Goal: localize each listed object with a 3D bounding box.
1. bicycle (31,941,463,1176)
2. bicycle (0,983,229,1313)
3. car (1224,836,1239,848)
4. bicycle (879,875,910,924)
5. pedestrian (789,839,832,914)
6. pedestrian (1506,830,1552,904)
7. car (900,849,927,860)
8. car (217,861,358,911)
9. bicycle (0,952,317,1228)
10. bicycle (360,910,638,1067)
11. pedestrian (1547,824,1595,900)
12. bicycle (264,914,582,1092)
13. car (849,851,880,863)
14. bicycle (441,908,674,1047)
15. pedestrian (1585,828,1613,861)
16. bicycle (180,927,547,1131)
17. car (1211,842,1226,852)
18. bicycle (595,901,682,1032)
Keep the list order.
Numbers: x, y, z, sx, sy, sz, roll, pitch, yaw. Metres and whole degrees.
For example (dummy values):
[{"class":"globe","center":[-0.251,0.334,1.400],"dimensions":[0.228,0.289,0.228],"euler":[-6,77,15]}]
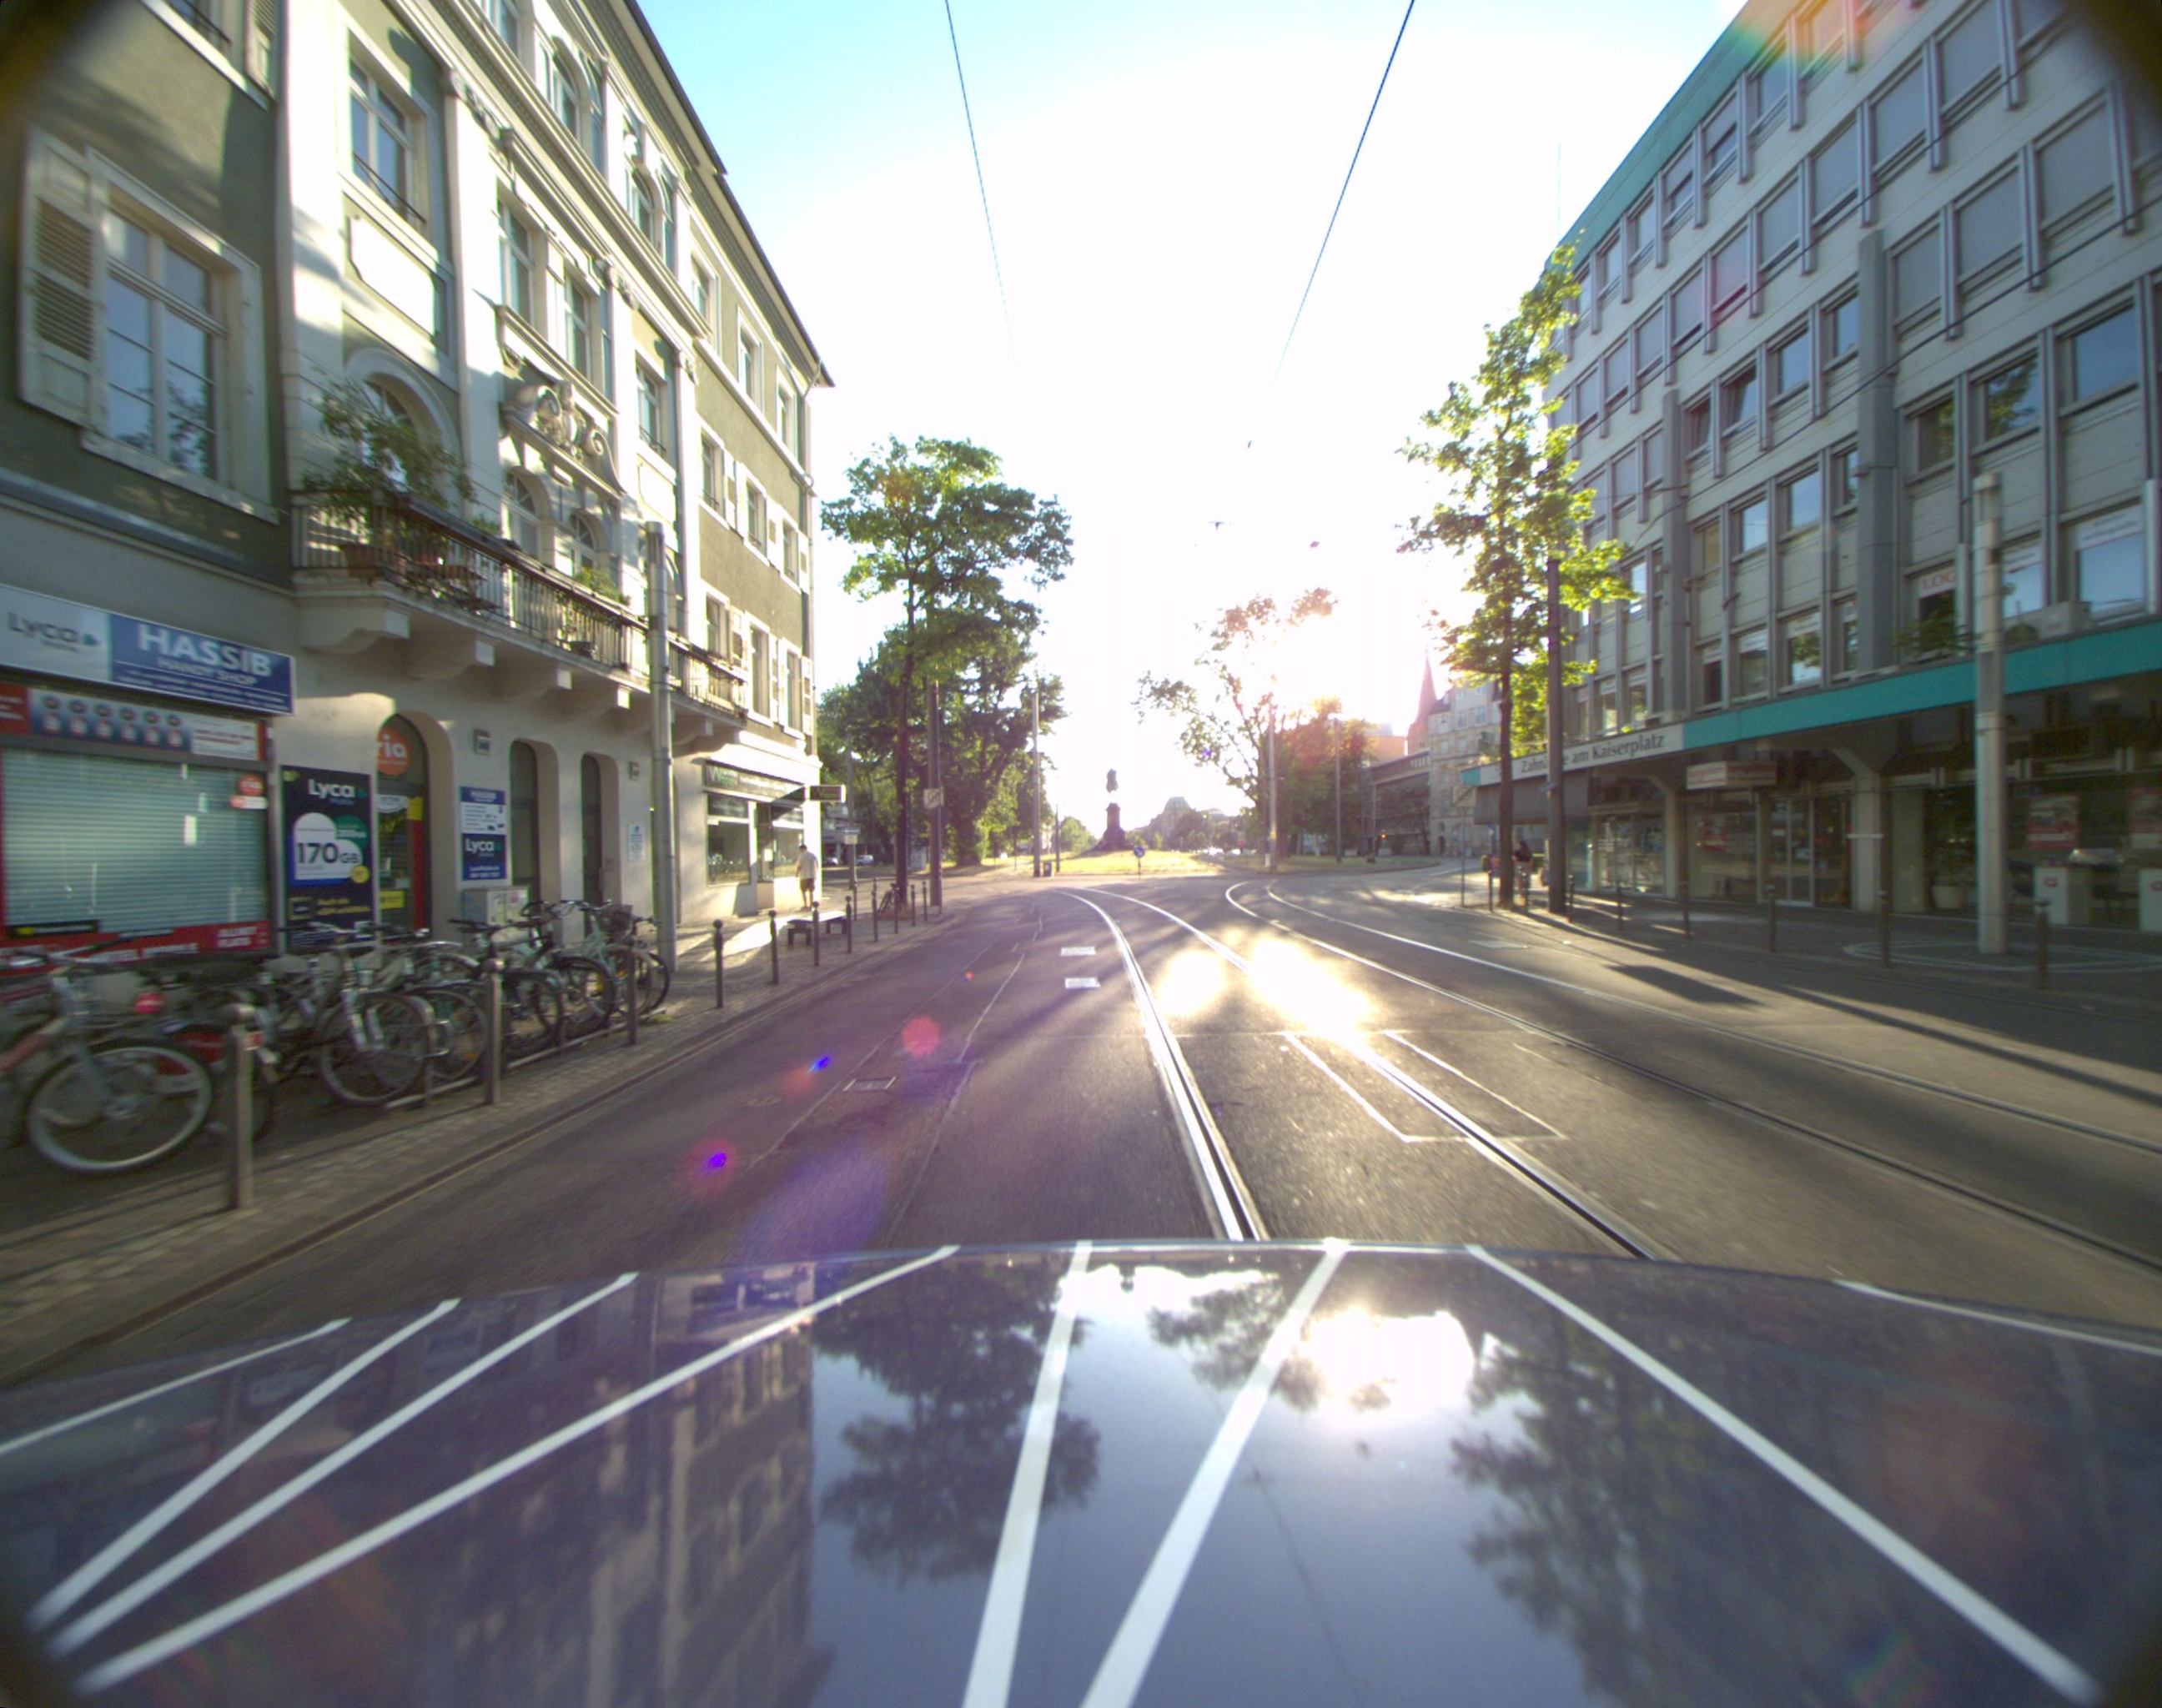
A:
[{"class":"bicycle","center":[-4.805,1.162,4.444],"dimensions":[1.870,1.148,0.562],"euler":[-3,2,2]},{"class":"bicycle","center":[-4.815,1.166,3.183],"dimensions":[1.870,1.148,0.562],"euler":[0,2,2]},{"class":"car","center":[27.797,-2.203,140.549],"dimensions":[1.998,2.002,3.999],"euler":[-2,1,1]},{"class":"bicycle","center":[-4.624,1.098,18.897],"dimensions":[0.355,1.070,1.698],"euler":[-3,2,-3]},{"class":"pedestrian","center":[-7.567,0.609,21.294],"dimensions":[0.846,2.002,0.843],"euler":[-3,2,-7]},{"class":"pedestrian","center":[12.534,0.346,21.270],"dimensions":[0.798,2.002,0.734],"euler":[-3,2,2]},{"class":"car","center":[-28.289,0.042,128.292],"dimensions":[1.995,1.596,4.530],"euler":[-3,1,27]},{"class":"car","center":[-37.229,1.457,35.735],"dimensions":[4.432,2.002,1.999],"euler":[-3,2,1]},{"class":"bicycle","center":[-5.077,1.143,3.857],"dimensions":[1.870,1.148,0.562],"euler":[2,2,2]},{"class":"bicycle","center":[-4.890,1.122,6.447],"dimensions":[1.870,1.148,0.562],"euler":[-3,2,2]},{"class":"pedestrian","center":[13.501,0.207,20.961],"dimensions":[0.798,2.002,0.734],"euler":[-3,2,2]},{"class":"bicycle","center":[-4.913,1.098,5.737],"dimensions":[1.870,1.148,0.562],"euler":[-3,2,2]},{"class":"car","center":[-33.470,0.483,117.451],"dimensions":[1.995,1.596,4.530],"euler":[-3,1,27]},{"class":"bicycle","center":[-4.802,1.126,7.003],"dimensions":[1.870,1.148,0.347],"euler":[-3,2,2]},{"class":"pedestrian","center":[27.365,-0.509,40.130],"dimensions":[0.905,1.693,1.164],"euler":[-2,2,18]},{"class":"bicycle","center":[-4.715,1.138,5.060],"dimensions":[1.870,1.148,0.562],"euler":[-3,2,2]},{"class":"car","center":[27.663,-1.451,153.199],"dimensions":[1.999,2.002,4.546],"euler":[-3,1,-2]},{"class":"bicycle","center":[-4.661,1.111,7.952],"dimensions":[0.462,1.148,1.677],"euler":[-4,2,-39]}]
